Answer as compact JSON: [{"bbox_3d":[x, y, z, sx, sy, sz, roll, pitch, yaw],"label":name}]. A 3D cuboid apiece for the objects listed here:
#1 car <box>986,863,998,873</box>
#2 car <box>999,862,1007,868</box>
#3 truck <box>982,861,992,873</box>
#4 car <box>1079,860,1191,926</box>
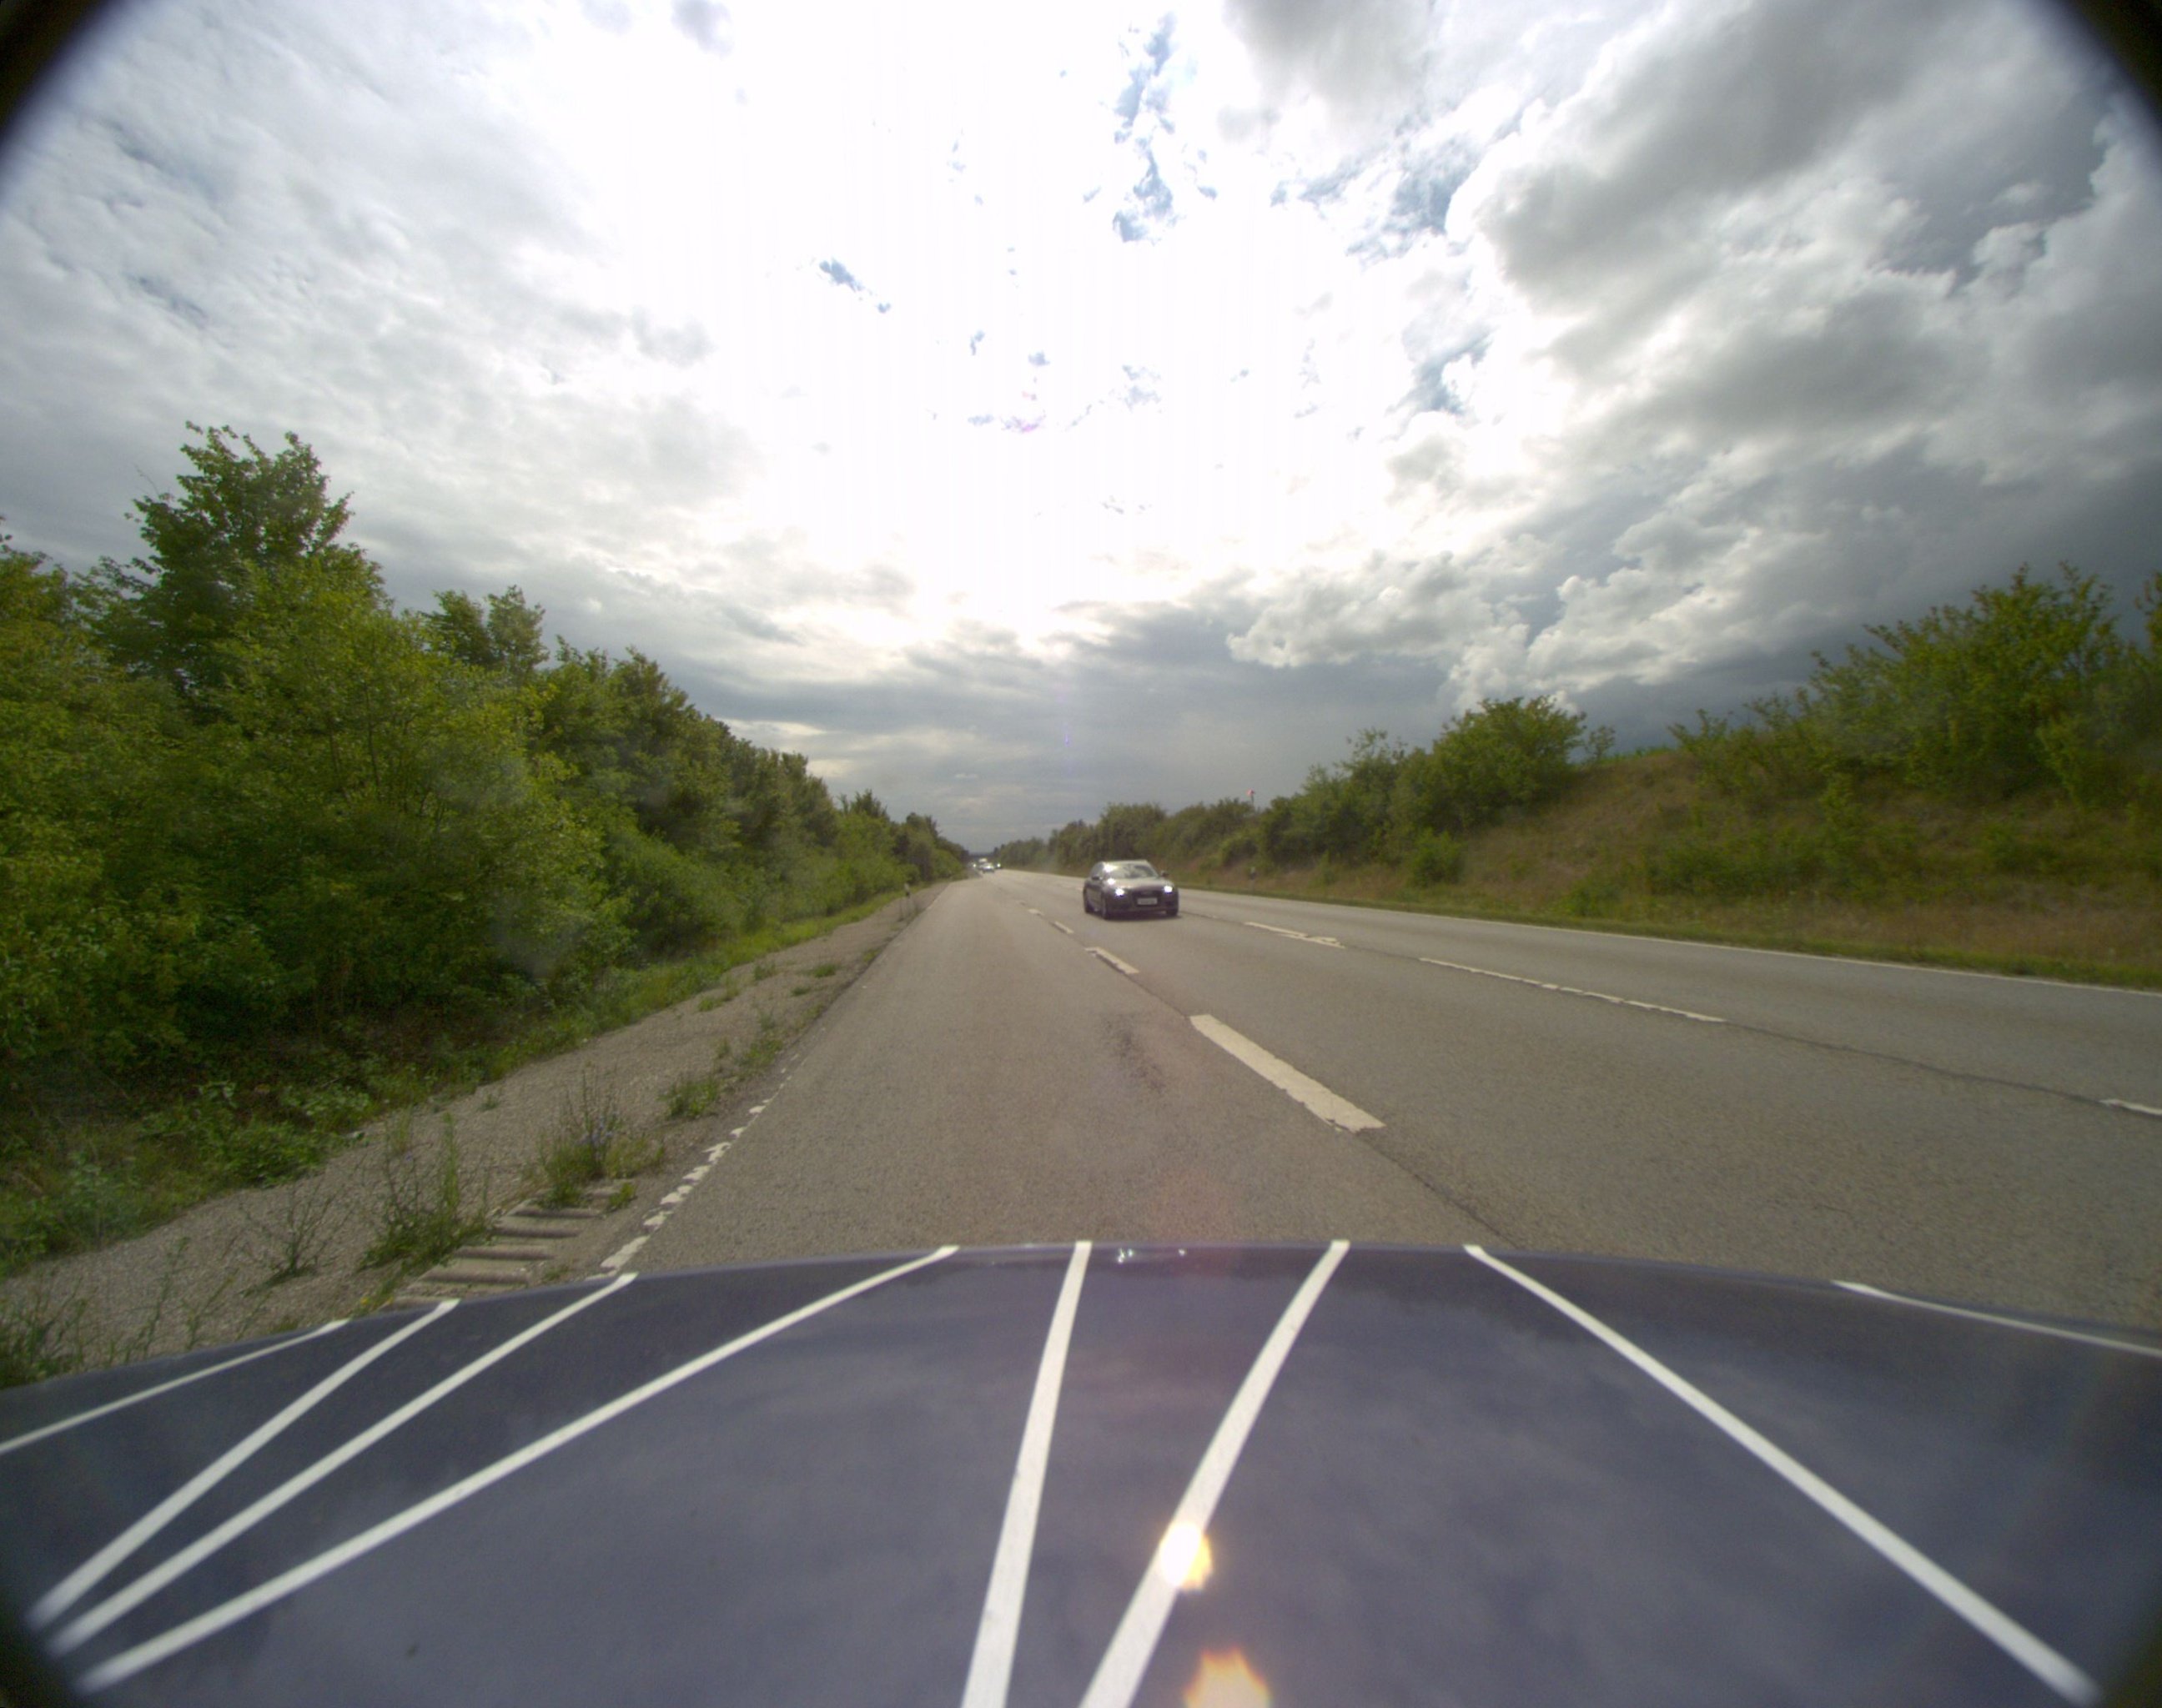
[{"bbox_3d":[-15.024,2.393,128.189,1.872,1.597,3.997,-3,0,-9],"label":"car"},{"bbox_3d":[-19.257,2.635,186.707,1.706,1.322,3.997,-2,0,-9],"label":"car"},{"bbox_3d":[-20.592,2.768,165.875,1.803,2.518,6.681,-4,0,-8],"label":"truck"},{"bbox_3d":[1.296,0.953,20.488,2.000,1.436,4.638,-4,0,-8],"label":"car"}]
